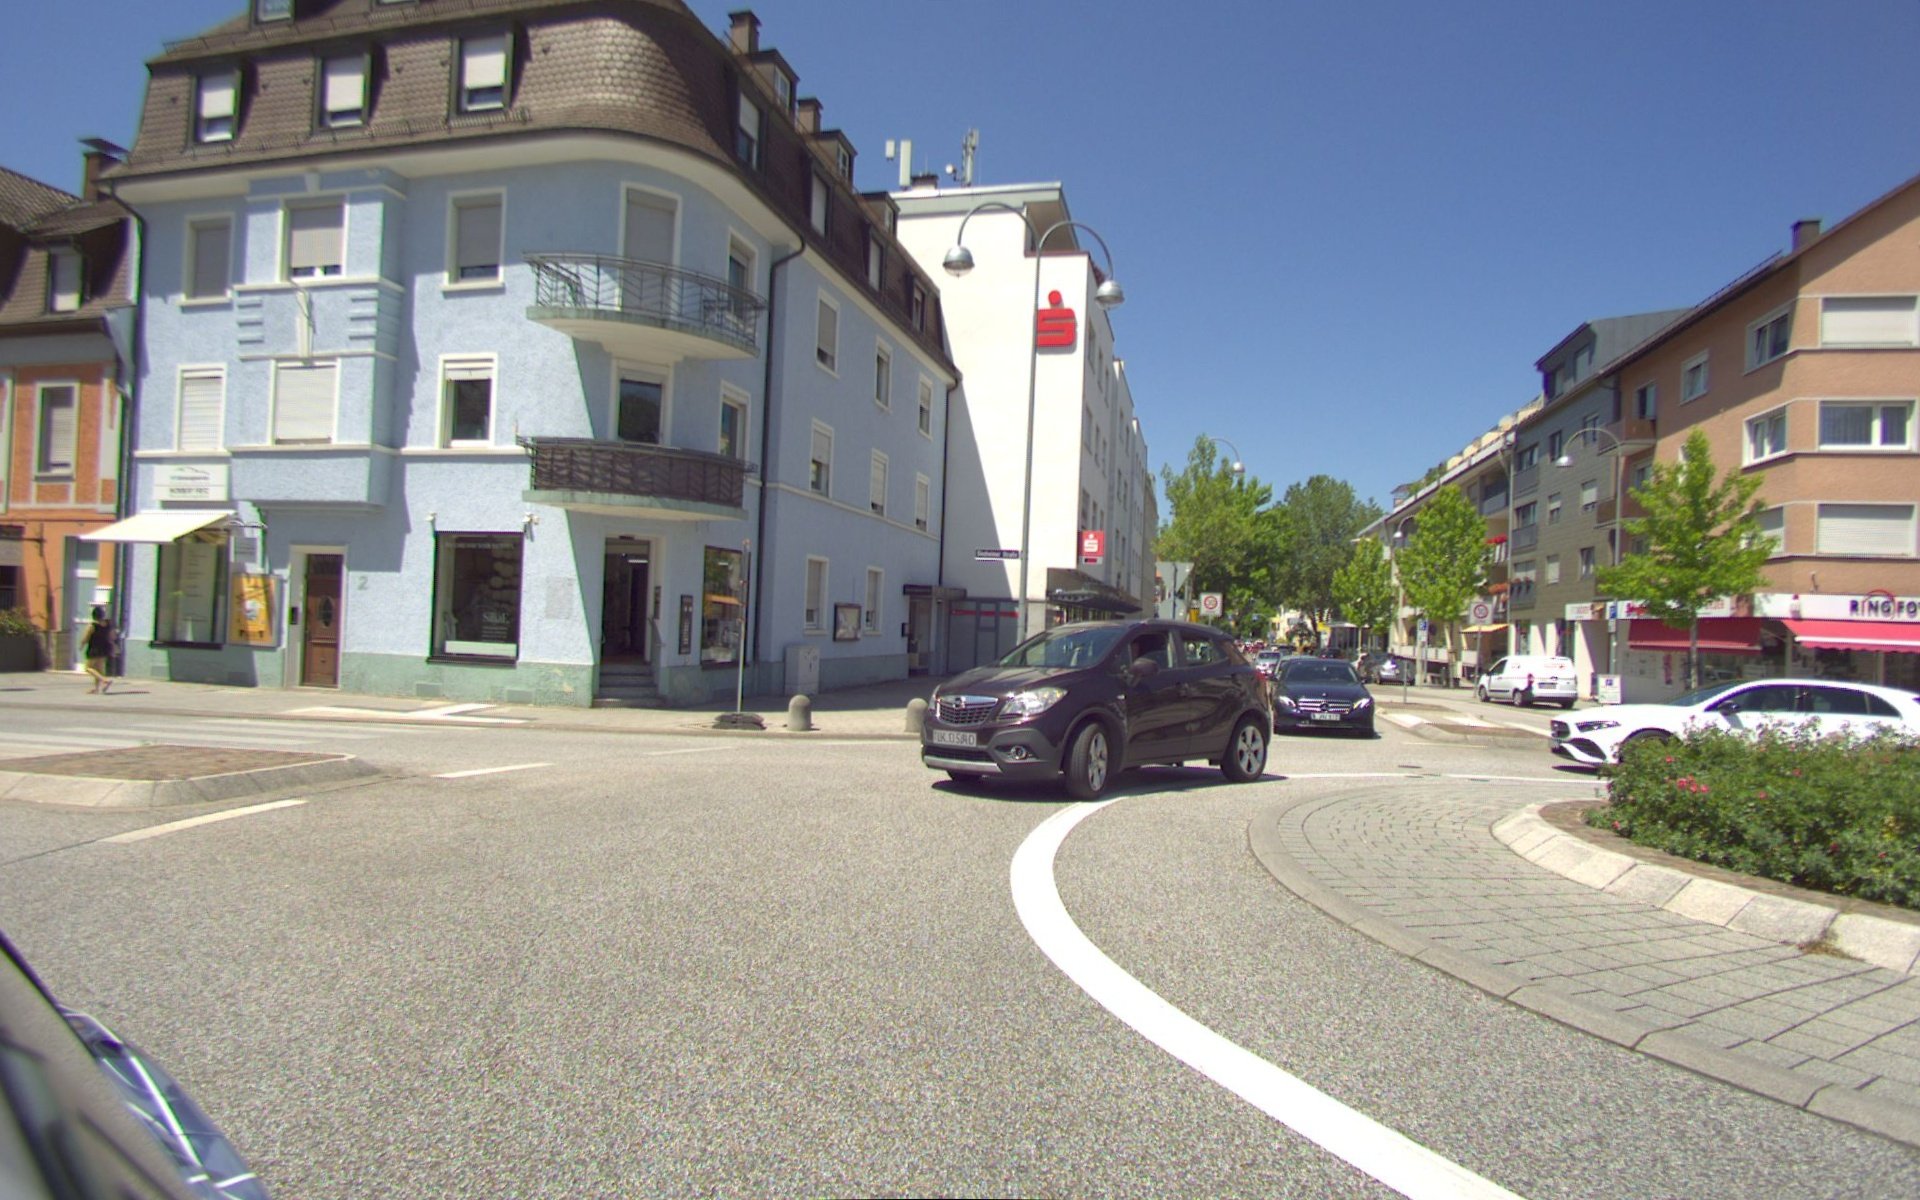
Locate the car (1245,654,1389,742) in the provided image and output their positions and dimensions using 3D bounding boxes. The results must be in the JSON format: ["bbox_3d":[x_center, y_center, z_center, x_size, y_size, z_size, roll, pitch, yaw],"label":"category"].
[{"bbox_3d":[7.146,1.902,20.772,1.978,1.489,4.694,1,-2,9],"label":"car"}]

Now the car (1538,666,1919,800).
[{"bbox_3d":[10.103,1.651,13.056,4.253,1.392,1.921,1,-4,19],"label":"car"}]

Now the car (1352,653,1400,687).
[{"bbox_3d":[22.718,3.793,55.423,1.753,1.719,4.684,0,-2,14],"label":"car"}]

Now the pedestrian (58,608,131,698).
[{"bbox_3d":[-15.312,0.920,17.918,0.796,1.536,0.626,1,0,14],"label":"pedestrian"}]

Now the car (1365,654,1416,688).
[{"bbox_3d":[21.441,3.508,50.526,1.731,1.562,3.925,0,-3,14],"label":"car"}]

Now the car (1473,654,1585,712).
[{"bbox_3d":[19.022,2.727,34.033,1.730,1.737,3.905,0,-2,4],"label":"car"}]

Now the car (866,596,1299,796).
[{"bbox_3d":[1.351,0.933,10.094,4.100,1.574,2.003,5,-5,-40],"label":"car"}]
